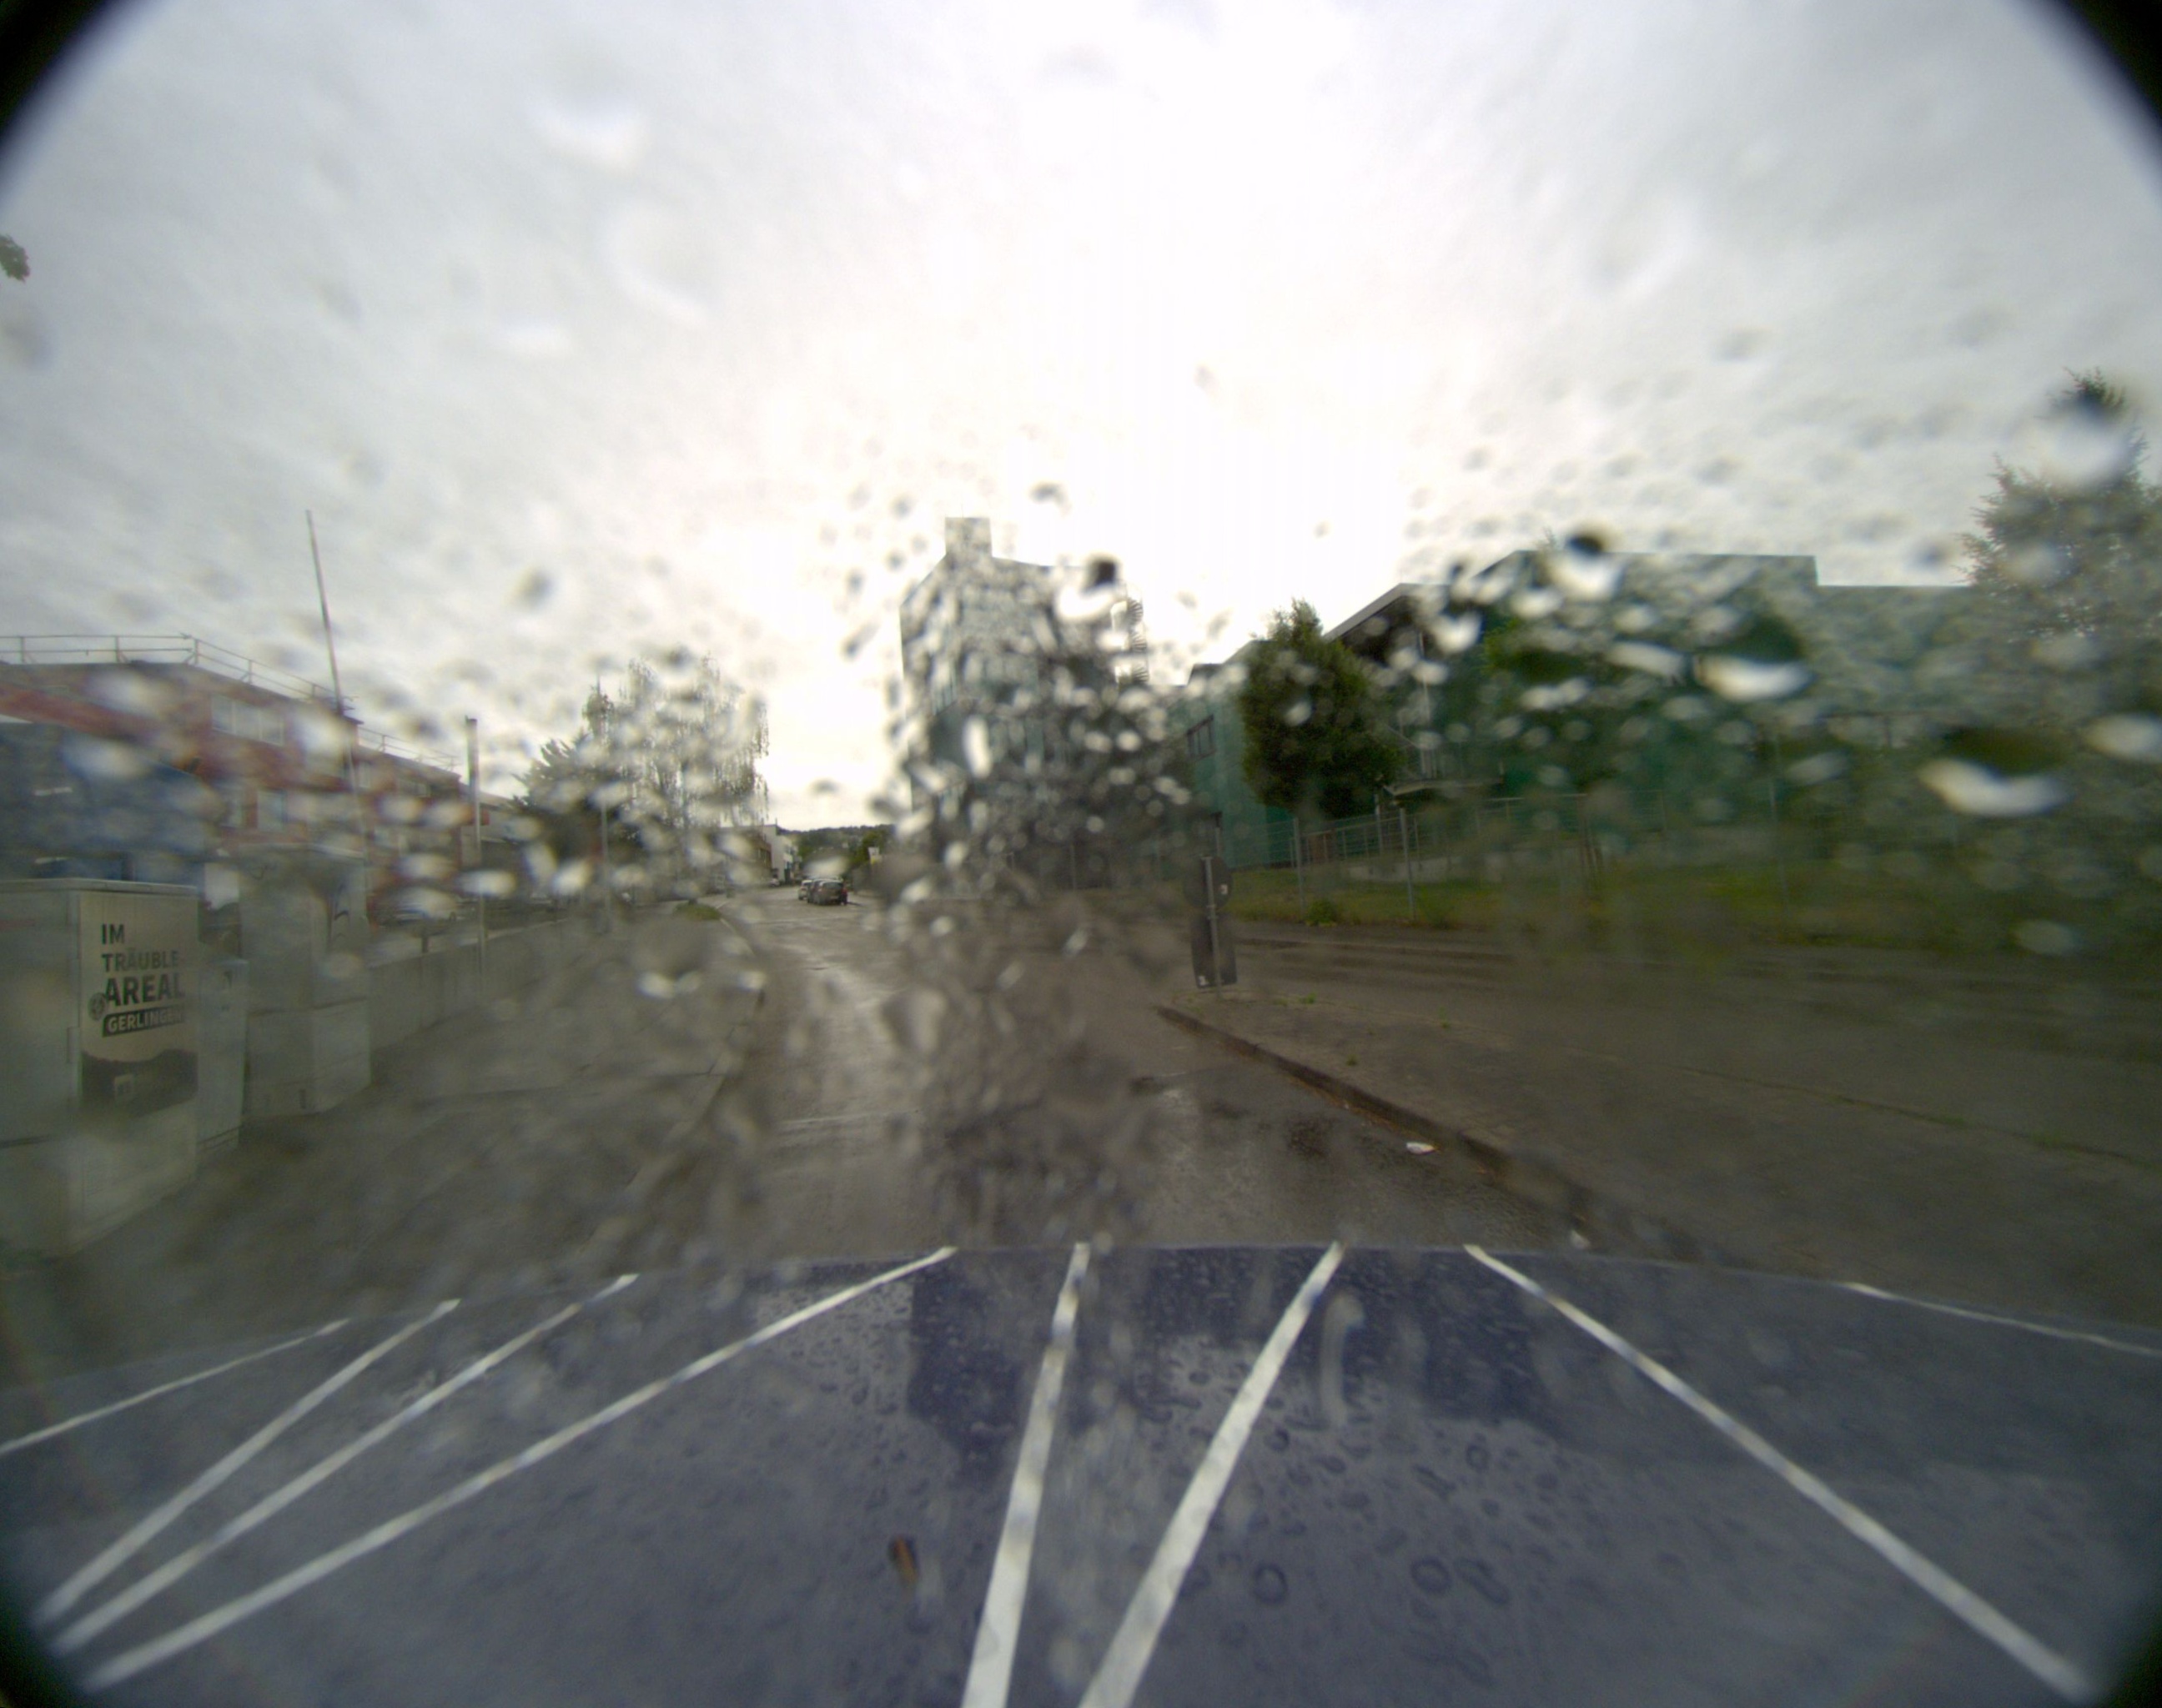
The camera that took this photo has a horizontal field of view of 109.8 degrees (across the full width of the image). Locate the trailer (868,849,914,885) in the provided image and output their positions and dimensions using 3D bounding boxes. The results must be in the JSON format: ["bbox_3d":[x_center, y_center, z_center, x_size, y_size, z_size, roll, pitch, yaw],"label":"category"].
[{"bbox_3d":[-22.572,1.522,90.228,4.688,4.065,2.393,-3,0,25],"label":"trailer"}]

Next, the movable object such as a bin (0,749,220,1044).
[{"bbox_3d":[-6.368,0.258,4.374,1.313,1.491,1.854,-2,0,-31],"label":"movable object such as a bin"}]

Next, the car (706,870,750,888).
[{"bbox_3d":[-49.179,3.481,105.969,5.157,2.280,2.200,-3,0,-11],"label":"car"}]

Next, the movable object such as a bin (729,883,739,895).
[{"bbox_3d":[-34.725,3.487,76.042,0.737,1.084,0.593,-2,0,-19],"label":"movable object such as a bin"}]

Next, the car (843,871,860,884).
[{"bbox_3d":[-39.023,3.971,129.140,2.000,2.001,3.998,-2,-1,-7],"label":"car"}]

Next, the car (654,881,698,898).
[{"bbox_3d":[-42.720,3.751,80.264,3.753,1.531,1.629,-2,0,-15],"label":"car"}]

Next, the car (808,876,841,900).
[{"bbox_3d":[-17.684,2.327,52.321,1.639,1.548,4.076,-2,-1,-25],"label":"car"}]

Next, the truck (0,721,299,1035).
[{"bbox_3d":[-8.651,0.202,5.219,2.114,2.201,5.645,-2,-1,-18],"label":"truck"}]

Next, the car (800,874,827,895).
[{"bbox_3d":[-22.117,2.505,62.664,1.742,1.527,4.243,-3,-1,-23],"label":"car"}]

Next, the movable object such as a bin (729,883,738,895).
[{"bbox_3d":[-34.538,3.465,75.449,0.737,1.084,0.593,-2,0,-19],"label":"movable object such as a bin"}]

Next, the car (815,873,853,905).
[{"bbox_3d":[-15.469,2.151,47.426,1.747,1.786,3.951,-2,-1,-25],"label":"car"}]

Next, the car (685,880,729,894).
[{"bbox_3d":[-47.456,4.174,96.607,4.627,1.488,1.939,-2,0,-13],"label":"car"}]

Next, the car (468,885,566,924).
[{"bbox_3d":[-27.873,2.453,37.764,2.002,1.570,4.508,-4,0,-10],"label":"car"}]

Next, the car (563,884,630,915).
[{"bbox_3d":[-34.180,3.191,53.668,3.445,1.491,1.617,-11,1,-10],"label":"car"}]
